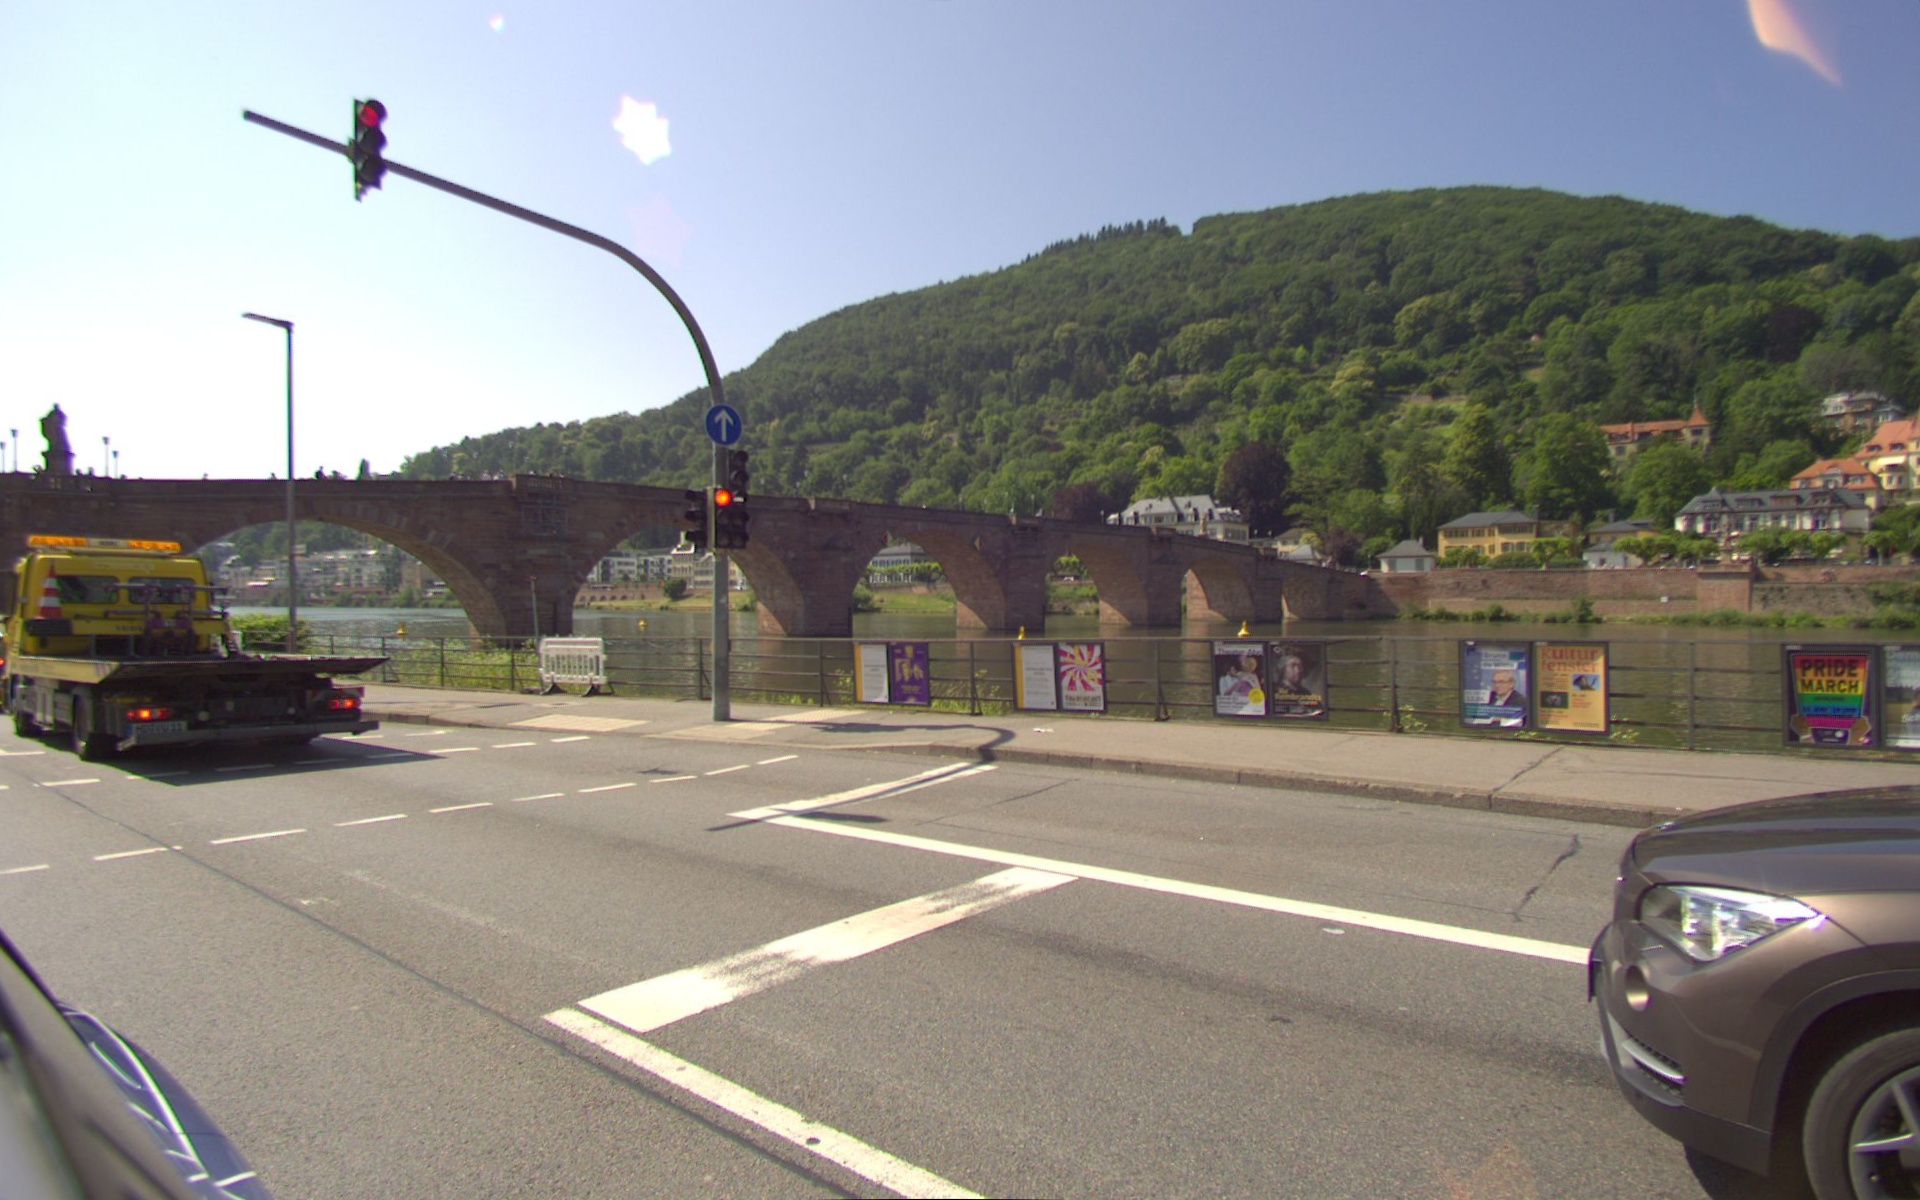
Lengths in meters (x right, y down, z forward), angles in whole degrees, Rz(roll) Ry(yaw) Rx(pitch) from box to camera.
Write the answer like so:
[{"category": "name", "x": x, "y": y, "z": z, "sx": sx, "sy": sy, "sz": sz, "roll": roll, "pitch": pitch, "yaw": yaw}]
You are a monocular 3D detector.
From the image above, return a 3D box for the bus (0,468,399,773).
[{"category": "bus", "x": -10.603, "y": 0.370, "z": 13.341, "sx": 8.435, "sy": 2.919, "sz": 2.572, "roll": -3, "pitch": -3, "yaw": 38}]

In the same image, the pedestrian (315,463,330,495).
[{"category": "pedestrian", "x": -42.550, "y": -8.088, "z": 67.533, "sx": 0.625, "sy": 2.029, "sz": 0.686, "roll": 1, "pitch": 0, "yaw": 39}]

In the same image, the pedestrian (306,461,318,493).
[{"category": "pedestrian", "x": -42.935, "y": -8.163, "z": 67.068, "sx": 0.638, "sy": 2.029, "sz": 0.461, "roll": 1, "pitch": 0, "yaw": 40}]

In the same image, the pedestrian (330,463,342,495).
[{"category": "pedestrian", "x": -41.954, "y": -8.145, "z": 68.034, "sx": 0.638, "sy": 2.029, "sz": 0.461, "roll": 1, "pitch": 0, "yaw": 40}]

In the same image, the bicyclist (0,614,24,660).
[{"category": "bicyclist", "x": -35.284, "y": 1.379, "z": 37.452, "sx": 0.976, "sy": 1.644, "sz": 0.662, "roll": -1, "pitch": 2, "yaw": 31}]

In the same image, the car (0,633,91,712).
[{"category": "car", "x": -18.835, "y": 1.380, "z": 19.953, "sx": 4.351, "sy": 1.417, "sz": 1.791, "roll": -2, "pitch": -2, "yaw": 38}]

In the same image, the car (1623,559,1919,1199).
[{"category": "car", "x": 3.770, "y": 0.587, "z": 1.601, "sx": 4.343, "sy": 1.409, "sz": 1.796, "roll": -2, "pitch": -3, "yaw": 41}]

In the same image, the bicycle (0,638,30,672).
[{"category": "bicycle", "x": -35.256, "y": 2.022, "z": 37.460, "sx": 2.026, "sy": 1.121, "sz": 0.662, "roll": 1, "pitch": 2, "yaw": 31}]
